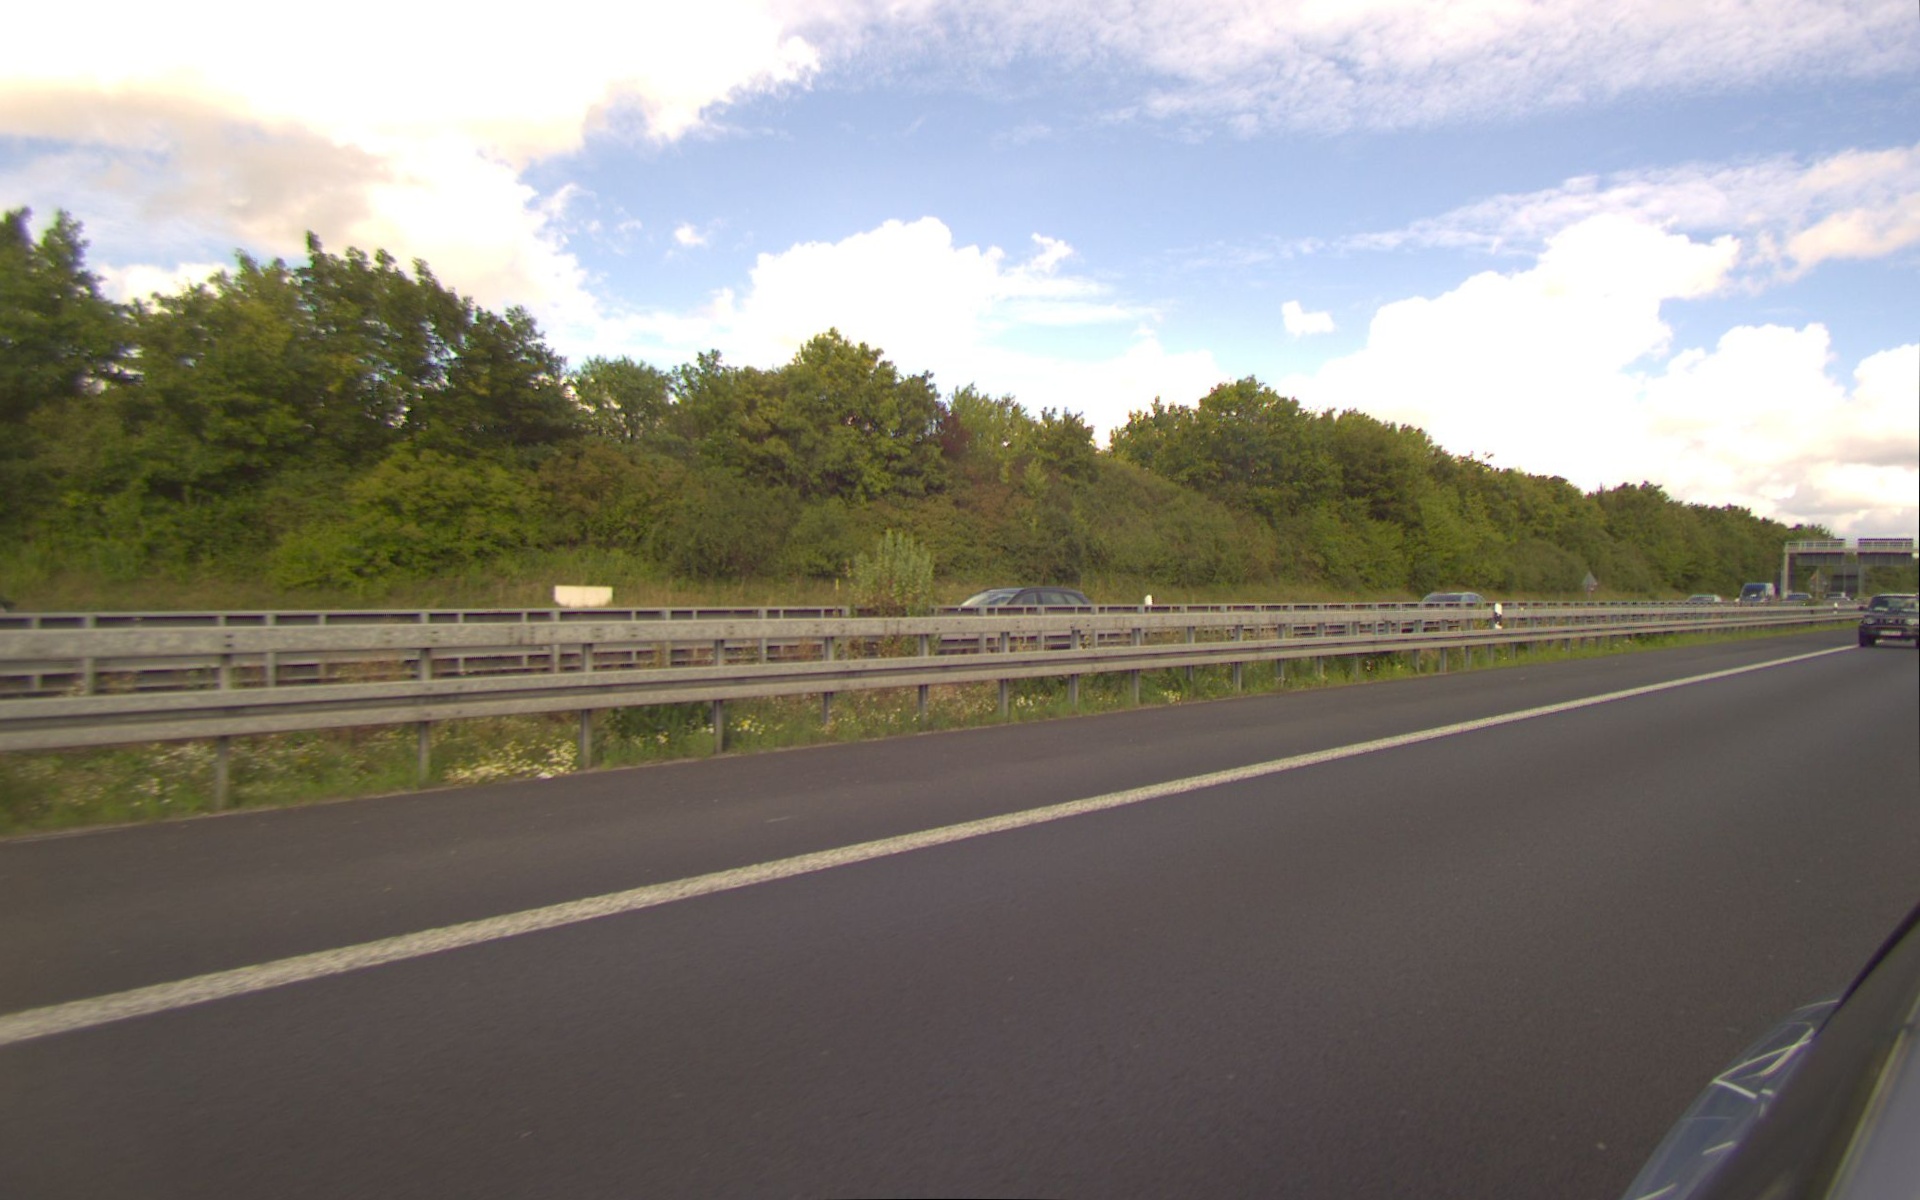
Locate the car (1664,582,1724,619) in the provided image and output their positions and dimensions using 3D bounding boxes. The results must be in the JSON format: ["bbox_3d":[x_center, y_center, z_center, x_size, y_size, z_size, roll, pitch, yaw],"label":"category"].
[{"bbox_3d":[42.852,0.012,59.065,3.931,2.038,1.997,0,3,-42],"label":"car"}]

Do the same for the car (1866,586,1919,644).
[{"bbox_3d":[30.846,0.447,32.785,4.133,1.754,1.670,0,2,-40],"label":"car"}]

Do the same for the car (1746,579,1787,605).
[{"bbox_3d":[70.085,-0.713,87.919,5.041,2.212,1.996,-1,2,-43],"label":"car"}]

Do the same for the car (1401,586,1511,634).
[{"bbox_3d":[17.124,0.299,34.864,4.237,1.503,1.996,-1,2,-43],"label":"car"}]

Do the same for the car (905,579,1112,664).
[{"bbox_3d":[1.035,0.360,20.371,3.932,1.503,1.996,-1,2,-43],"label":"car"}]

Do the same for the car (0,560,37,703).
[{"bbox_3d":[-13.770,0.378,12.139,3.931,1.729,1.997,-1,3,-42],"label":"car"}]
